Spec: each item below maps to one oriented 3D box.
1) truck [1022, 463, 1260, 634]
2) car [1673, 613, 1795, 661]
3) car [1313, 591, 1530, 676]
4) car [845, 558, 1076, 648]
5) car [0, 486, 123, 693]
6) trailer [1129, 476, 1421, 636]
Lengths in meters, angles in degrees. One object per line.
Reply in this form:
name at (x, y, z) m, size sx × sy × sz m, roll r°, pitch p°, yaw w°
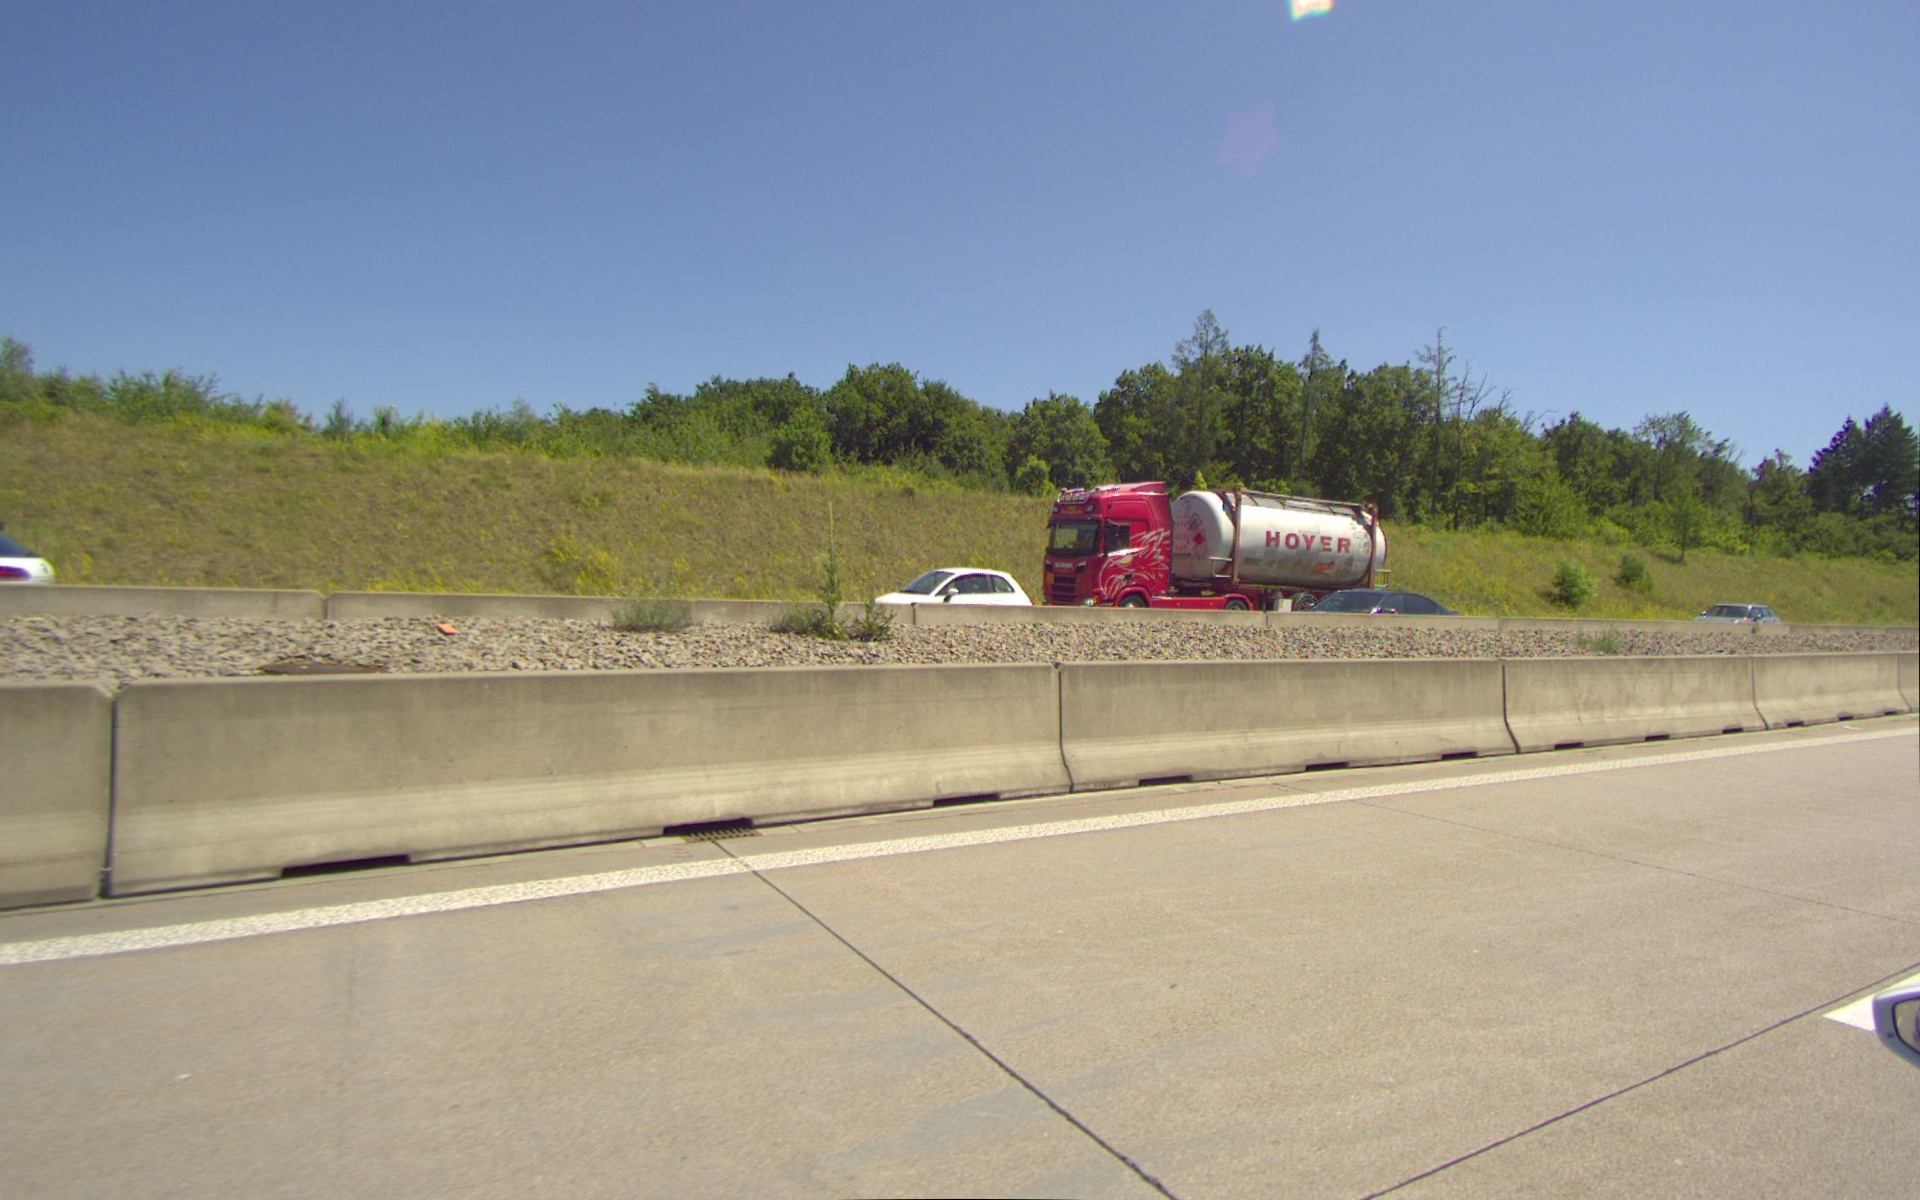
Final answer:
truck at (5.053, -1.281, 27.899) m, size 5.911 × 4.224 × 2.919 m, roll 2°, pitch 1°, yaw -30°
car at (28.281, 1.336, 36.674) m, size 4.378 × 1.604 × 1.984 m, roll 1°, pitch 1°, yaw -30°
car at (9.811, 0.688, 21.308) m, size 4.411 × 1.604 × 1.984 m, roll 1°, pitch 1°, yaw -30°
car at (0.034, 0.073, 19.913) m, size 4.130 × 1.604 × 1.984 m, roll 1°, pitch 1°, yaw -30°
car at (-10.970, -0.165, 9.076) m, size 4.909 × 1.898 × 1.984 m, roll 1°, pitch 1°, yaw -30°
trailer at (9.760, -1.142, 30.656) m, size 9.225 × 4.224 × 2.919 m, roll 2°, pitch 1°, yaw -30°
